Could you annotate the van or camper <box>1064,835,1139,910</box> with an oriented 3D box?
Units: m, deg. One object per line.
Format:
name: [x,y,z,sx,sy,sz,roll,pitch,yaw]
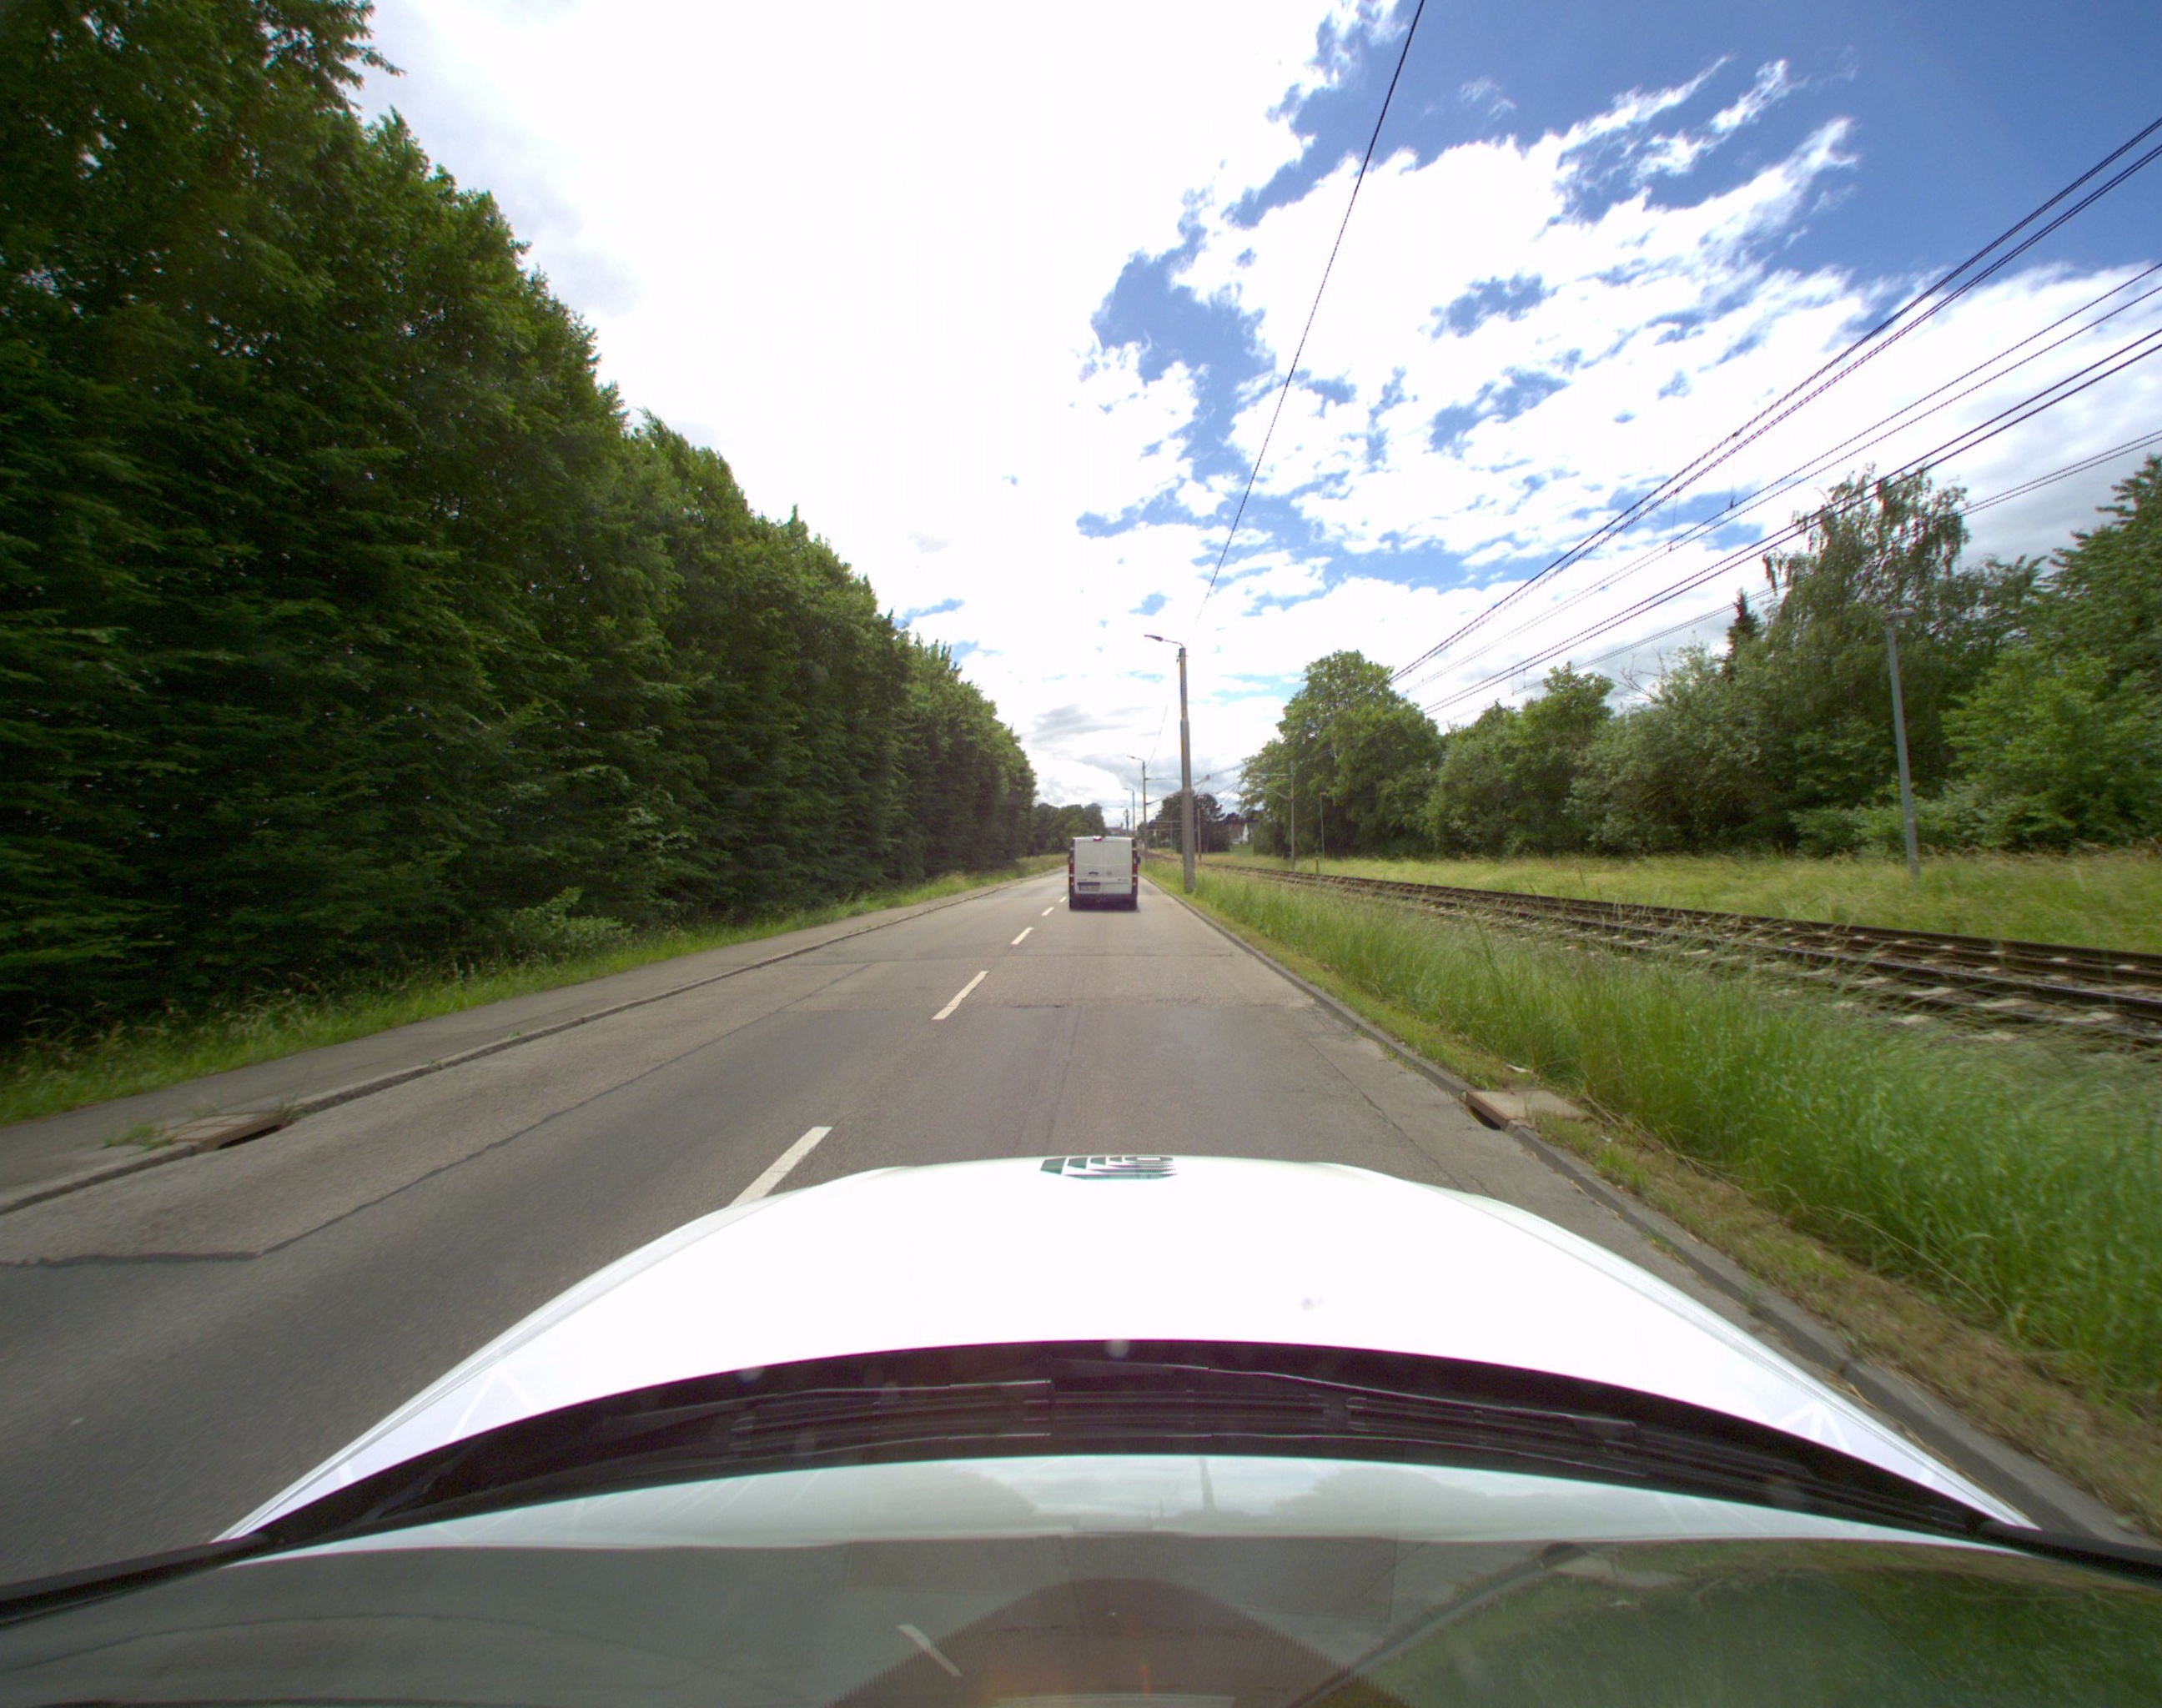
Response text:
van or camper: [0.662,0.493,23.309,1.934,1.897,4.288,-1,0,3]
